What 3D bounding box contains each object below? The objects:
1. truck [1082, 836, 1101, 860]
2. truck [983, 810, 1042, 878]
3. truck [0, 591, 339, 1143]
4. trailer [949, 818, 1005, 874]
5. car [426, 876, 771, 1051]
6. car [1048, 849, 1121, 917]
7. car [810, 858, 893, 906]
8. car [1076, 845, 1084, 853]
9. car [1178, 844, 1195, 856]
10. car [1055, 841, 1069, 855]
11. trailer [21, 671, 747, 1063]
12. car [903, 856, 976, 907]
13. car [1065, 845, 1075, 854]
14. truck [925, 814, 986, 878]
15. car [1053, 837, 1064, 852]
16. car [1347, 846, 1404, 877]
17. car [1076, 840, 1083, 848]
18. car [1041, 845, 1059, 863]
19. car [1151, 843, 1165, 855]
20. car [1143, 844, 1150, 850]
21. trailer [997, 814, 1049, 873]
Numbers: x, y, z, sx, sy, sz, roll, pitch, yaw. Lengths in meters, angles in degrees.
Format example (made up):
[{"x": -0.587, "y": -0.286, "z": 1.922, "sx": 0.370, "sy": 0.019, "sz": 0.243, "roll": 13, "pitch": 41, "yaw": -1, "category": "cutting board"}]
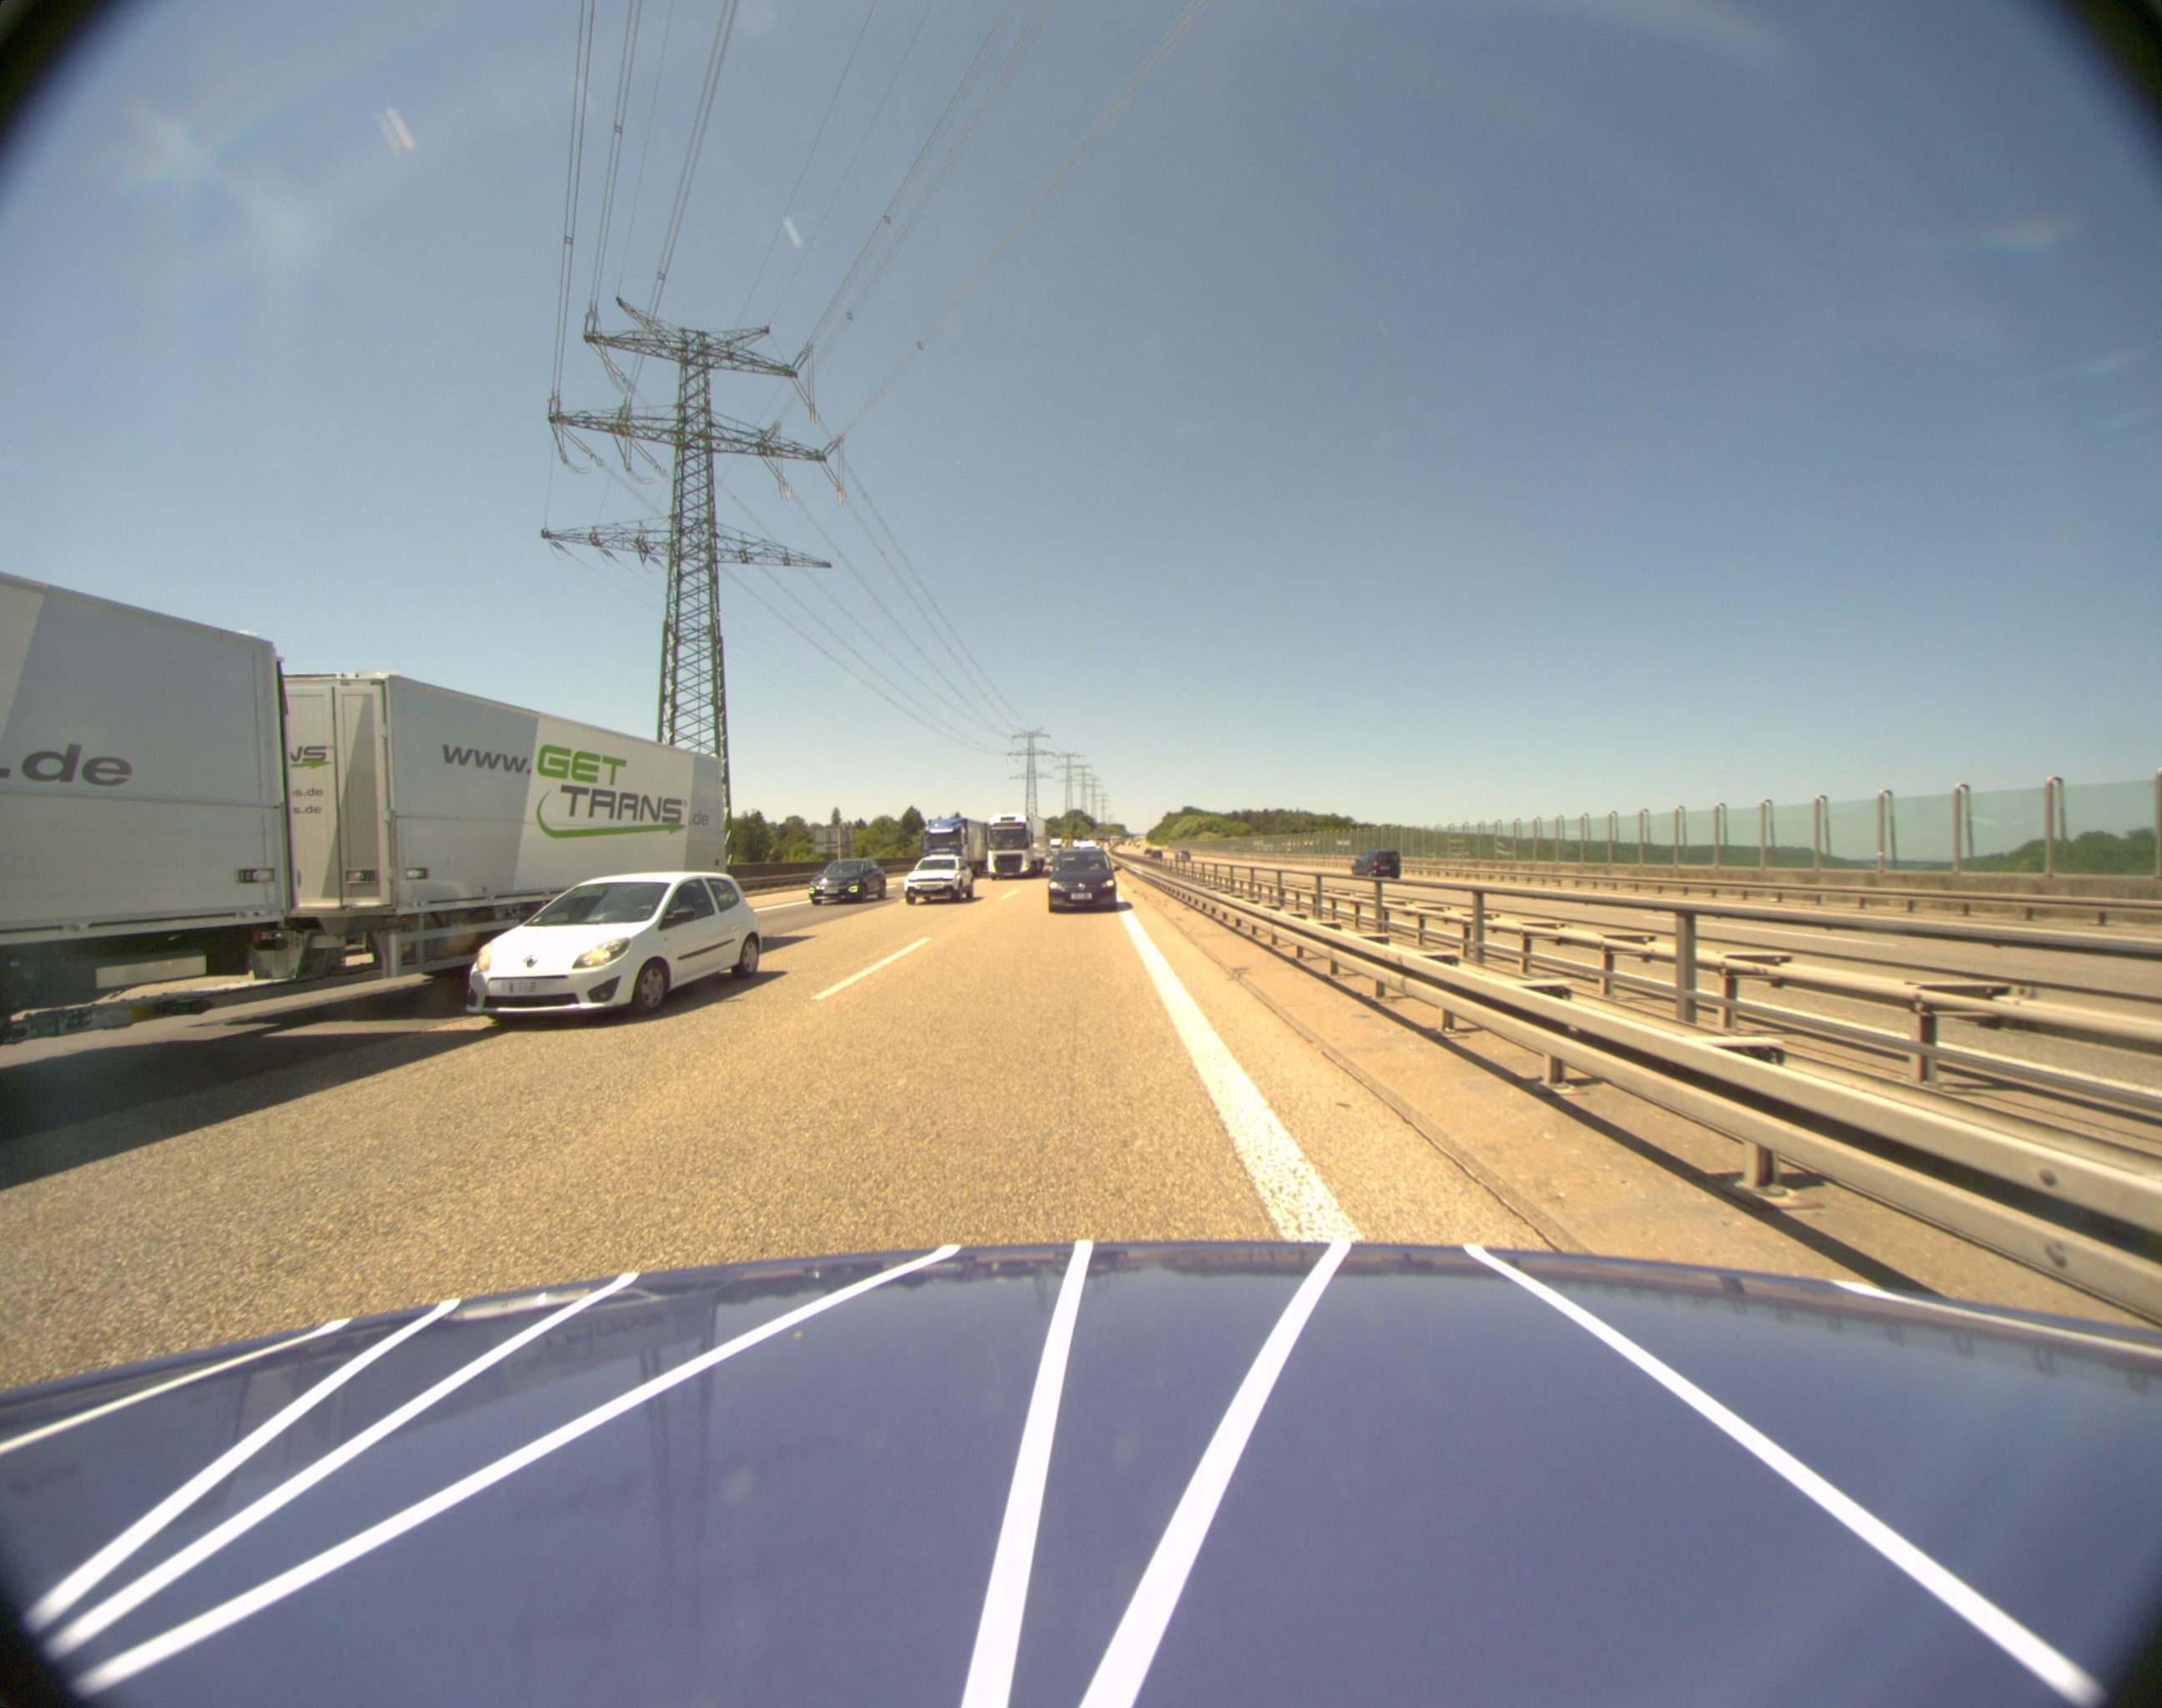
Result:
[{"x": 1.322, "y": -0.733, "z": 91.666, "sx": 2.100, "sy": 2.700, "sz": 5.864, "roll": -2, "pitch": 1, "yaw": 1, "category": "truck"}, {"x": -4.165, "y": -0.625, "z": 47.730, "sx": 2.914, "sy": 3.870, "sz": 6.739, "roll": -2, "pitch": 1, "yaw": 0, "category": "truck"}, {"x": -8.489, "y": 0.144, "z": 1.674, "sx": 2.858, "sy": 3.582, "sz": 10.768, "roll": -2, "pitch": 0, "yaw": 1, "category": "truck"}, {"x": -8.066, "y": -0.681, "z": 60.555, "sx": 2.543, "sy": 3.971, "sz": 10.884, "roll": -2, "pitch": 1, "yaw": 1, "category": "trailer"}, {"x": -5.175, "y": 1.062, "z": 8.797, "sx": 1.583, "sy": 1.432, "sz": 3.629, "roll": -2, "pitch": 1, "yaw": 1, "category": "car"}, {"x": 0.097, "y": 0.686, "z": 20.513, "sx": 1.739, "sy": 1.607, "sz": 3.911, "roll": -2, "pitch": 1, "yaw": 0, "category": "car"}, {"x": -8.166, "y": 0.945, "z": 27.397, "sx": 1.709, "sy": 1.497, "sz": 3.888, "roll": -2, "pitch": 1, "yaw": 1, "category": "car"}, {"x": -0.192, "y": -1.270, "z": 188.460, "sx": 1.890, "sy": 2.002, "sz": 3.999, "roll": -2, "pitch": 1, "yaw": 1, "category": "car"}, {"x": 14.208, "y": -0.546, "z": 102.487, "sx": 1.759, "sy": 1.538, "sz": 3.999, "roll": 1, "pitch": 1, "yaw": 1, "category": "car"}, {"x": -3.012, "y": -0.974, "z": 119.404, "sx": 1.998, "sy": 2.002, "sz": 3.999, "roll": -2, "pitch": 1, "yaw": 1, "category": "car"}, {"x": -8.337, "y": 0.103, "z": 11.252, "sx": 2.851, "sy": 3.574, "sz": 8.291, "roll": -2, "pitch": 1, "yaw": 1, "category": "trailer"}, {"x": -4.693, "y": 0.858, "z": 25.752, "sx": 1.722, "sy": 1.526, "sz": 3.753, "roll": -2, "pitch": 1, "yaw": 0, "category": "car"}, {"x": -2.159, "y": -0.948, "z": 151.319, "sx": 1.701, "sy": 1.599, "sz": 3.639, "roll": -2, "pitch": 1, "yaw": 1, "category": "car"}, {"x": -8.295, "y": -0.524, "z": 51.157, "sx": 2.517, "sy": 3.945, "sz": 7.927, "roll": -2, "pitch": 1, "yaw": 1, "category": "truck"}, {"x": -5.149, "y": -2.274, "z": 175.198, "sx": 2.273, "sy": 3.304, "sz": 6.288, "roll": -2, "pitch": 1, "yaw": 0, "category": "car"}, {"x": 17.695, "y": 0.410, "z": 45.828, "sx": 1.787, "sy": 1.774, "sz": 4.301, "roll": 0, "pitch": 1, "yaw": 0, "category": "car"}, {"x": -0.360, "y": -2.799, "z": 212.613, "sx": 1.781, "sy": 2.002, "sz": 3.999, "roll": -2, "pitch": 1, "yaw": 1, "category": "car"}, {"x": -3.336, "y": -0.026, "z": 81.956, "sx": 1.672, "sy": 1.761, "sz": 3.846, "roll": -2, "pitch": 1, "yaw": 1, "category": "car"}, {"x": 11.565, "y": -0.745, "z": 114.138, "sx": 1.759, "sy": 1.711, "sz": 4.100, "roll": 0, "pitch": 1, "yaw": 1, "category": "car"}, {"x": 16.319, "y": -1.739, "z": 188.977, "sx": 1.784, "sy": 1.560, "sz": 4.387, "roll": 1, "pitch": 1, "yaw": 4, "category": "car"}, {"x": -4.101, "y": -0.796, "z": 55.967, "sx": 2.898, "sy": 3.847, "sz": 9.772, "roll": -2, "pitch": 1, "yaw": 1, "category": "trailer"}]
